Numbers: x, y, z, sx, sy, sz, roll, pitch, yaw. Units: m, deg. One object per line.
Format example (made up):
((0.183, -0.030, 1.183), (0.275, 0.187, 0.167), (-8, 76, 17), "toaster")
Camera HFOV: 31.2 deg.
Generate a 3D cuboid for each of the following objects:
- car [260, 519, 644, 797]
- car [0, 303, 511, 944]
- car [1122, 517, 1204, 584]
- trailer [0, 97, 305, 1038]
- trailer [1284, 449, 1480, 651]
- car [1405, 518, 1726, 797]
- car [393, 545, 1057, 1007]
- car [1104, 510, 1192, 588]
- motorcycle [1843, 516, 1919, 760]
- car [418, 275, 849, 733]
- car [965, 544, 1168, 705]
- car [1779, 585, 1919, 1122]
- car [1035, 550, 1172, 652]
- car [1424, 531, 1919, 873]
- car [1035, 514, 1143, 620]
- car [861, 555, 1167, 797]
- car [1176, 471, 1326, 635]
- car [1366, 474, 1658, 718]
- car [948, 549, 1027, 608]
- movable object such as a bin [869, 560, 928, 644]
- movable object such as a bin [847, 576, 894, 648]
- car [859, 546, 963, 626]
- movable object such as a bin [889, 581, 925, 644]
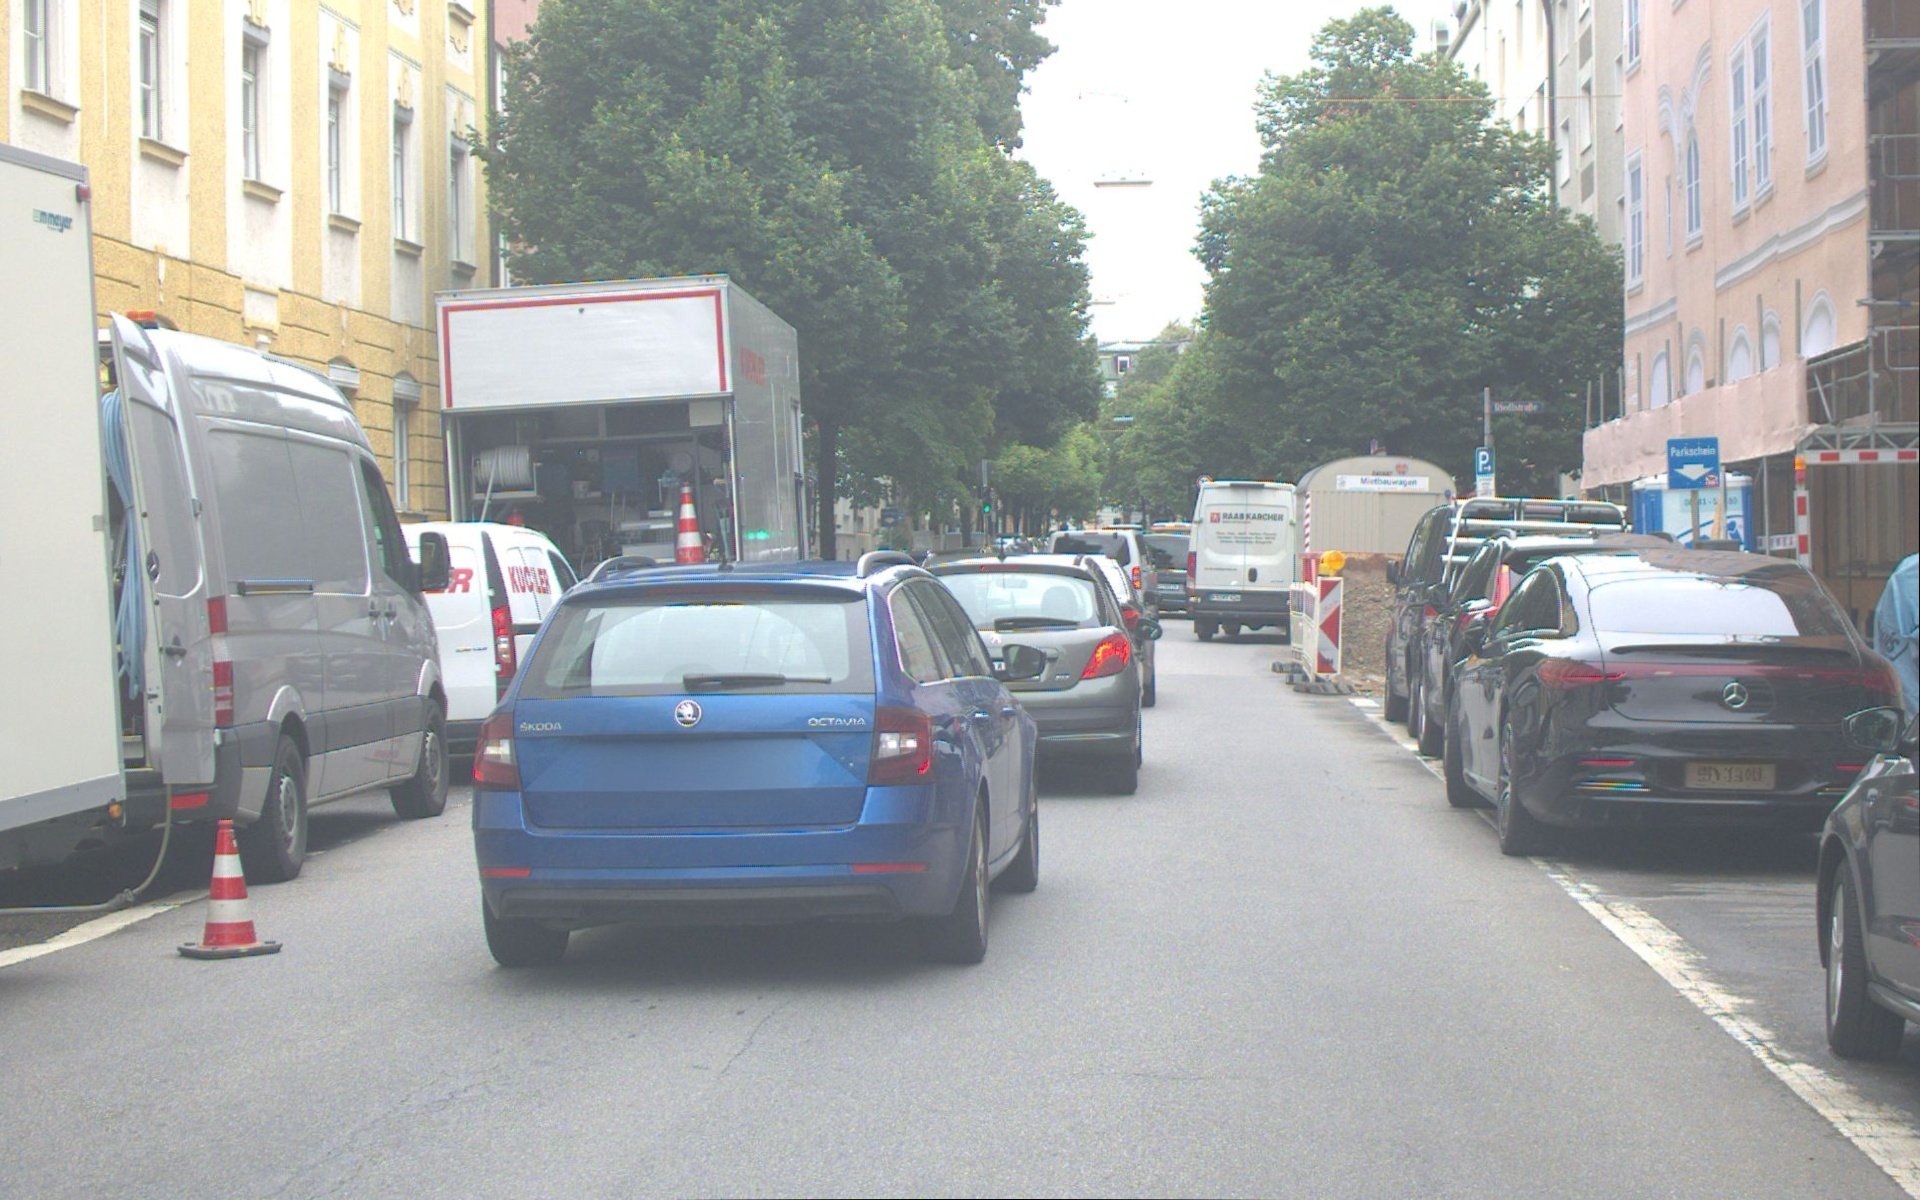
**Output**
((-3.583, 0.359, 25.027), (1.763, 1.773, 4.326), (-3, 1, 5), "car")
((-4.063, 0.096, 17.617), (2.056, 2.578, 6.876), (-5, 1, 3), "car")
((5.159, -1.279, 87.515), (2.008, 1.647, 4.347), (1, 1, 3), "car")
((-4.499, -0.020, 10.127), (2.804, 2.959, 7.598), (-4, 1, 6), "trailer")
((6.266, -0.729, 51.863), (2.502, 2.830, 6.900), (1, 0, 4), "trailer")
((4.053, 0.339, 23.611), (1.694, 1.671, 4.407), (2, 1, 5), "car")
((-0.699, 0.542, 13.135), (1.789, 1.455, 4.313), (-1, 1, 6), "car")
((4.153, -1.143, 75.550), (1.867, 1.647, 4.347), (1, 1, 4), "car")
((6.272, 0.217, 22.030), (0.872, 1.499, 1.997), (0, 1, 5), "motorcycle")
((-2.896, -0.852, 33.331), (2.813, 3.804, 8.722), (-1, 1, 3), "car")
((1.085, 0.190, 33.984), (1.867, 1.449, 4.347), (1, 1, 3), "car")
((3.264, 0.656, 8.628), (1.572, 1.390, 4.182), (-1, 0, 3), "car")
((2.106, -0.014, 49.441), (1.867, 1.343, 4.347), (1, 1, 4), "car")
((3.704, 0.417, 18.401), (1.931, 1.548, 5.636), (0, 1, 3), "car")
((2.411, -0.638, 63.331), (1.867, 1.863, 4.347), (1, 1, 4), "car")
((0.426, 0.432, 22.097), (1.741, 1.417, 3.663), (0, 1, 4), "car")
((5.054, -0.789, 59.051), (2.113, 2.654, 5.498), (1, 0, 9), "car")
((4.668, 0.033, 29.762), (2.083, 1.914, 5.139), (1, -2, 5), "car")
((0.727, -0.570, 88.791), (1.812, 1.473, 4.000), (0, 1, 4), "car")
((-1.037, 0.028, 58.254), (0.918, 1.372, 1.080), (-3, 1, 0), "movable object such as a bin")
((-1.499, 0.196, 57.369), (0.711, 1.144, 0.636), (-3, 1, 0), "movable object such as a bin")
((-0.912, -0.286, 66.078), (1.812, 1.473, 4.000), (0, 1, 2), "car")
((-0.878, 0.208, 57.391), (0.546, 1.017, 0.636), (-3, 1, 0), "movable object such as a bin")
